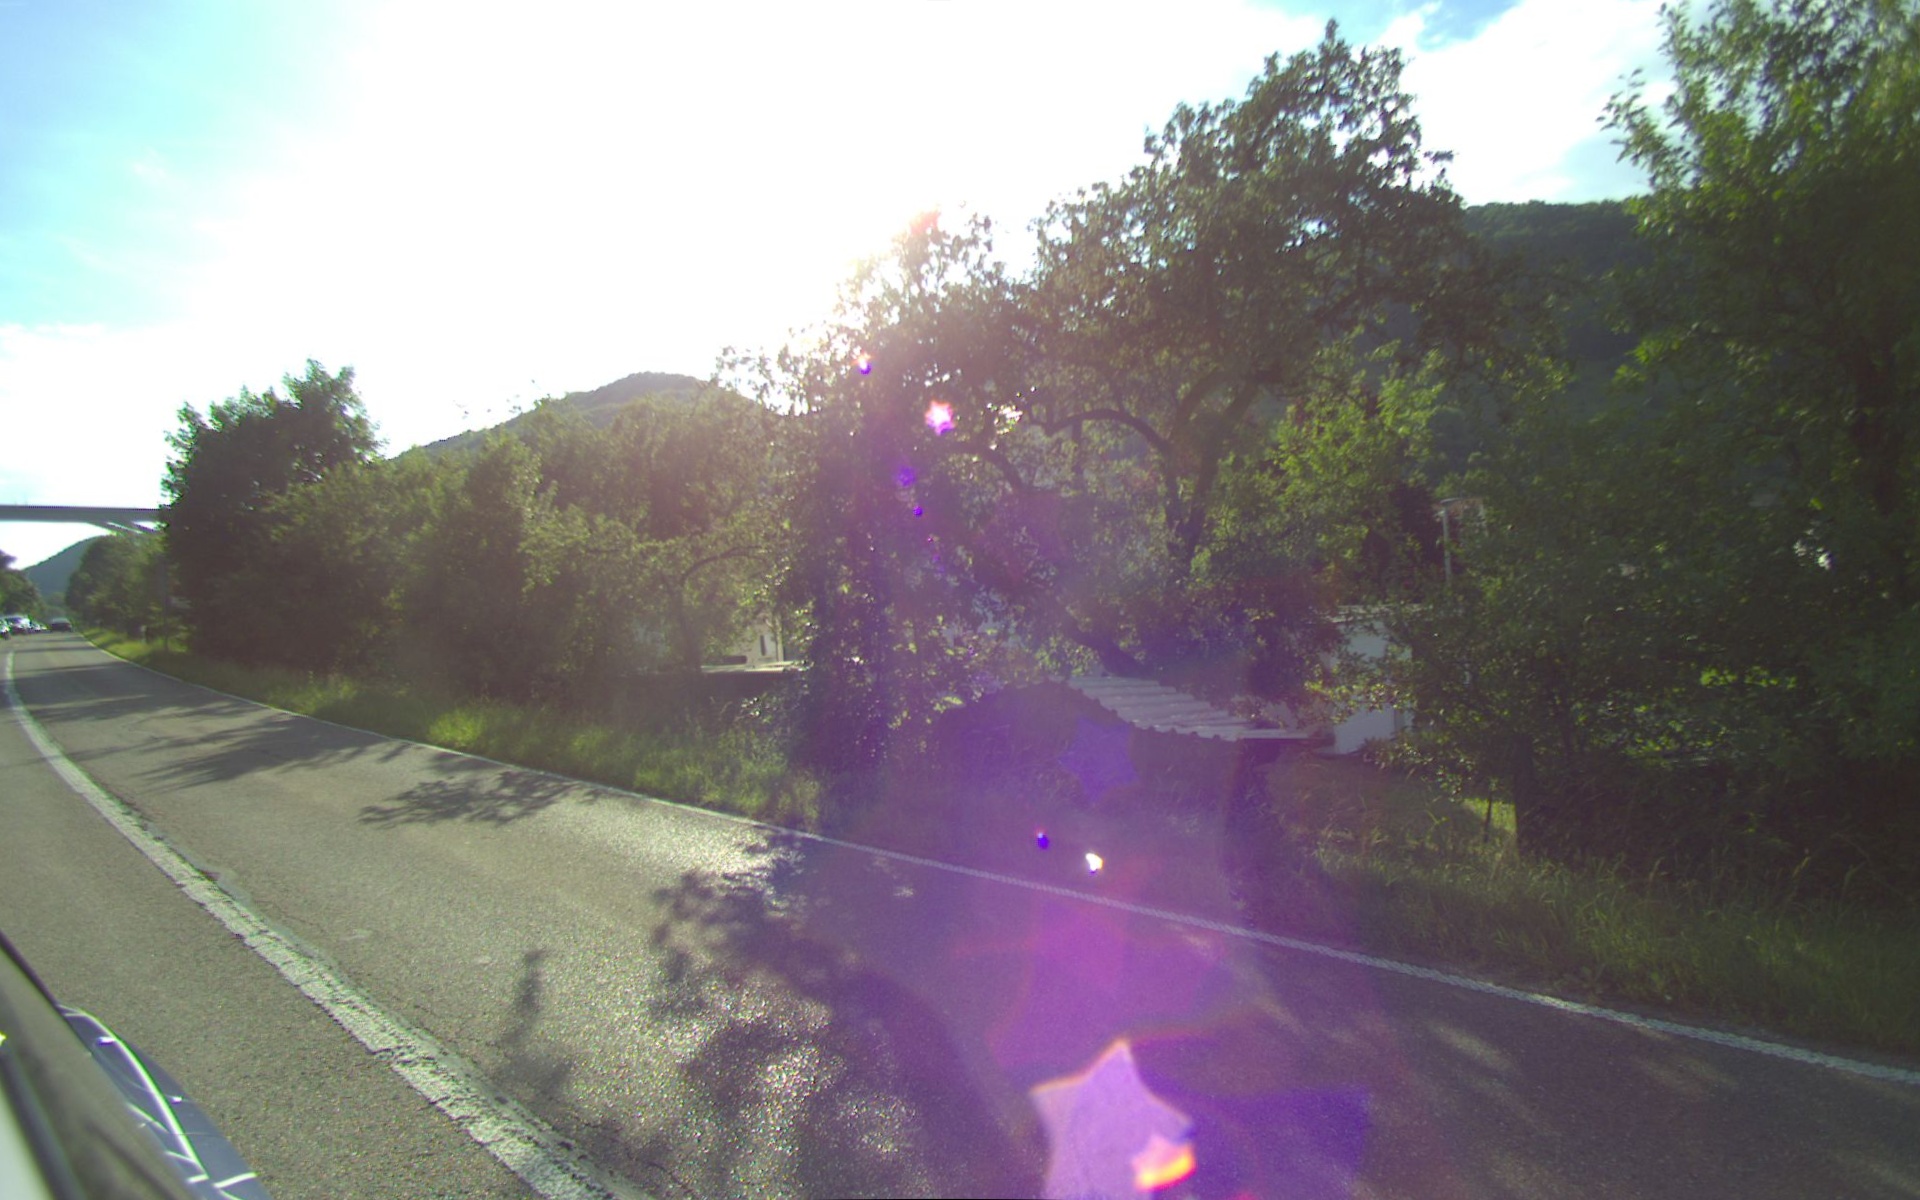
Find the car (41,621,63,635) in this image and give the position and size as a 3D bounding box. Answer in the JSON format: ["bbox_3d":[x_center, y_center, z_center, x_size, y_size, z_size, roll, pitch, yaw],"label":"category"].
[{"bbox_3d":[-89.358,2.745,99.580,1.575,1.364,4.209,-1,0,-42],"label":"car"}]

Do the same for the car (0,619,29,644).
[{"bbox_3d":[-82.046,2.677,87.652,1.970,2.029,4.003,-1,0,-44],"label":"car"}]
